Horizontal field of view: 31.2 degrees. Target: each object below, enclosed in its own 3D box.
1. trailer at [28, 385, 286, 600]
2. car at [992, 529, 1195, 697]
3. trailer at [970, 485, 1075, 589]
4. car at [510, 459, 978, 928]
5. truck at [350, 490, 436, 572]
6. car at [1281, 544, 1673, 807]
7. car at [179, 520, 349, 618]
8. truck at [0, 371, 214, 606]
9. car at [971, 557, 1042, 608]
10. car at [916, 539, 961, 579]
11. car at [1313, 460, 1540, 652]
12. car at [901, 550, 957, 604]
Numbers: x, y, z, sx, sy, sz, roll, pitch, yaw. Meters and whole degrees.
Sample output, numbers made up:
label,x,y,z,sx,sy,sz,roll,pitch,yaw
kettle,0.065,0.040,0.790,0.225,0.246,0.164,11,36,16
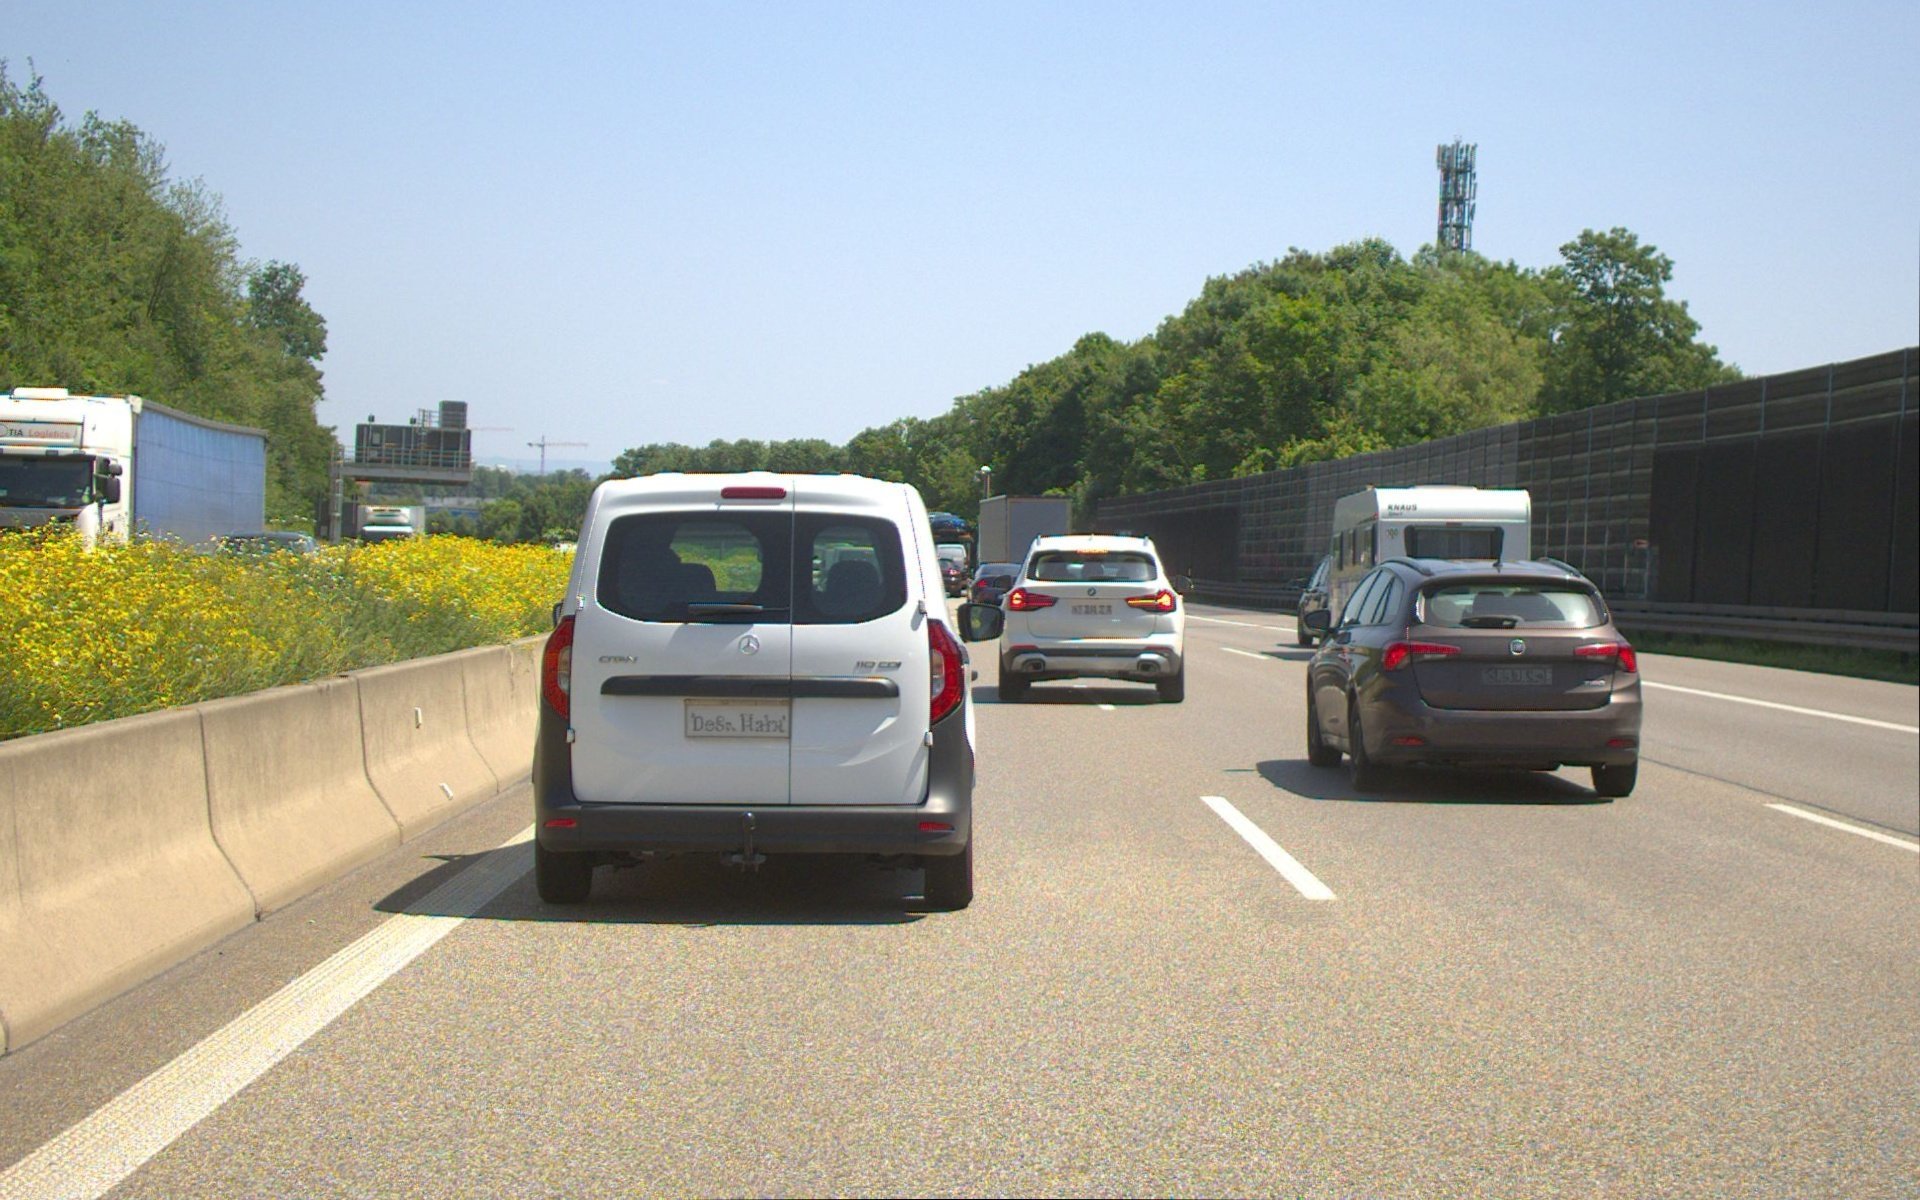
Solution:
label,x,y,z,sx,sy,sz,roll,pitch,yaw
trailer,-15.610,-2.041,67.645,2.781,3.844,10.171,1,1,-1
car,1.324,0.095,35.634,1.871,1.603,3.879,1,1,-1
trailer,2.436,-2.484,138.232,3.081,3.972,10.325,1,0,-5
car,-0.866,0.340,15.383,1.802,1.802,4.000,1,1,-1
truck,-24.918,-3.007,151.438,2.735,3.463,7.315,1,1,-2
car,3.290,0.416,22.720,1.838,1.508,4.402,1,1,-1
car,-11.776,-0.537,58.470,1.993,1.556,4.640,1,1,-1
truck,-15.506,-1.935,61.095,2.748,3.844,8.414,1,1,-1
car,1.321,-0.509,99.598,1.824,1.419,4.000,1,0,-2
car,-1.147,-2.145,180.085,1.993,2.007,4.001,1,1,-5
car,7.112,-0.664,53.175,2.478,2.756,6.220,1,0,-1
car,-1.205,-0.908,131.997,1.824,1.982,4.001,1,1,-5
